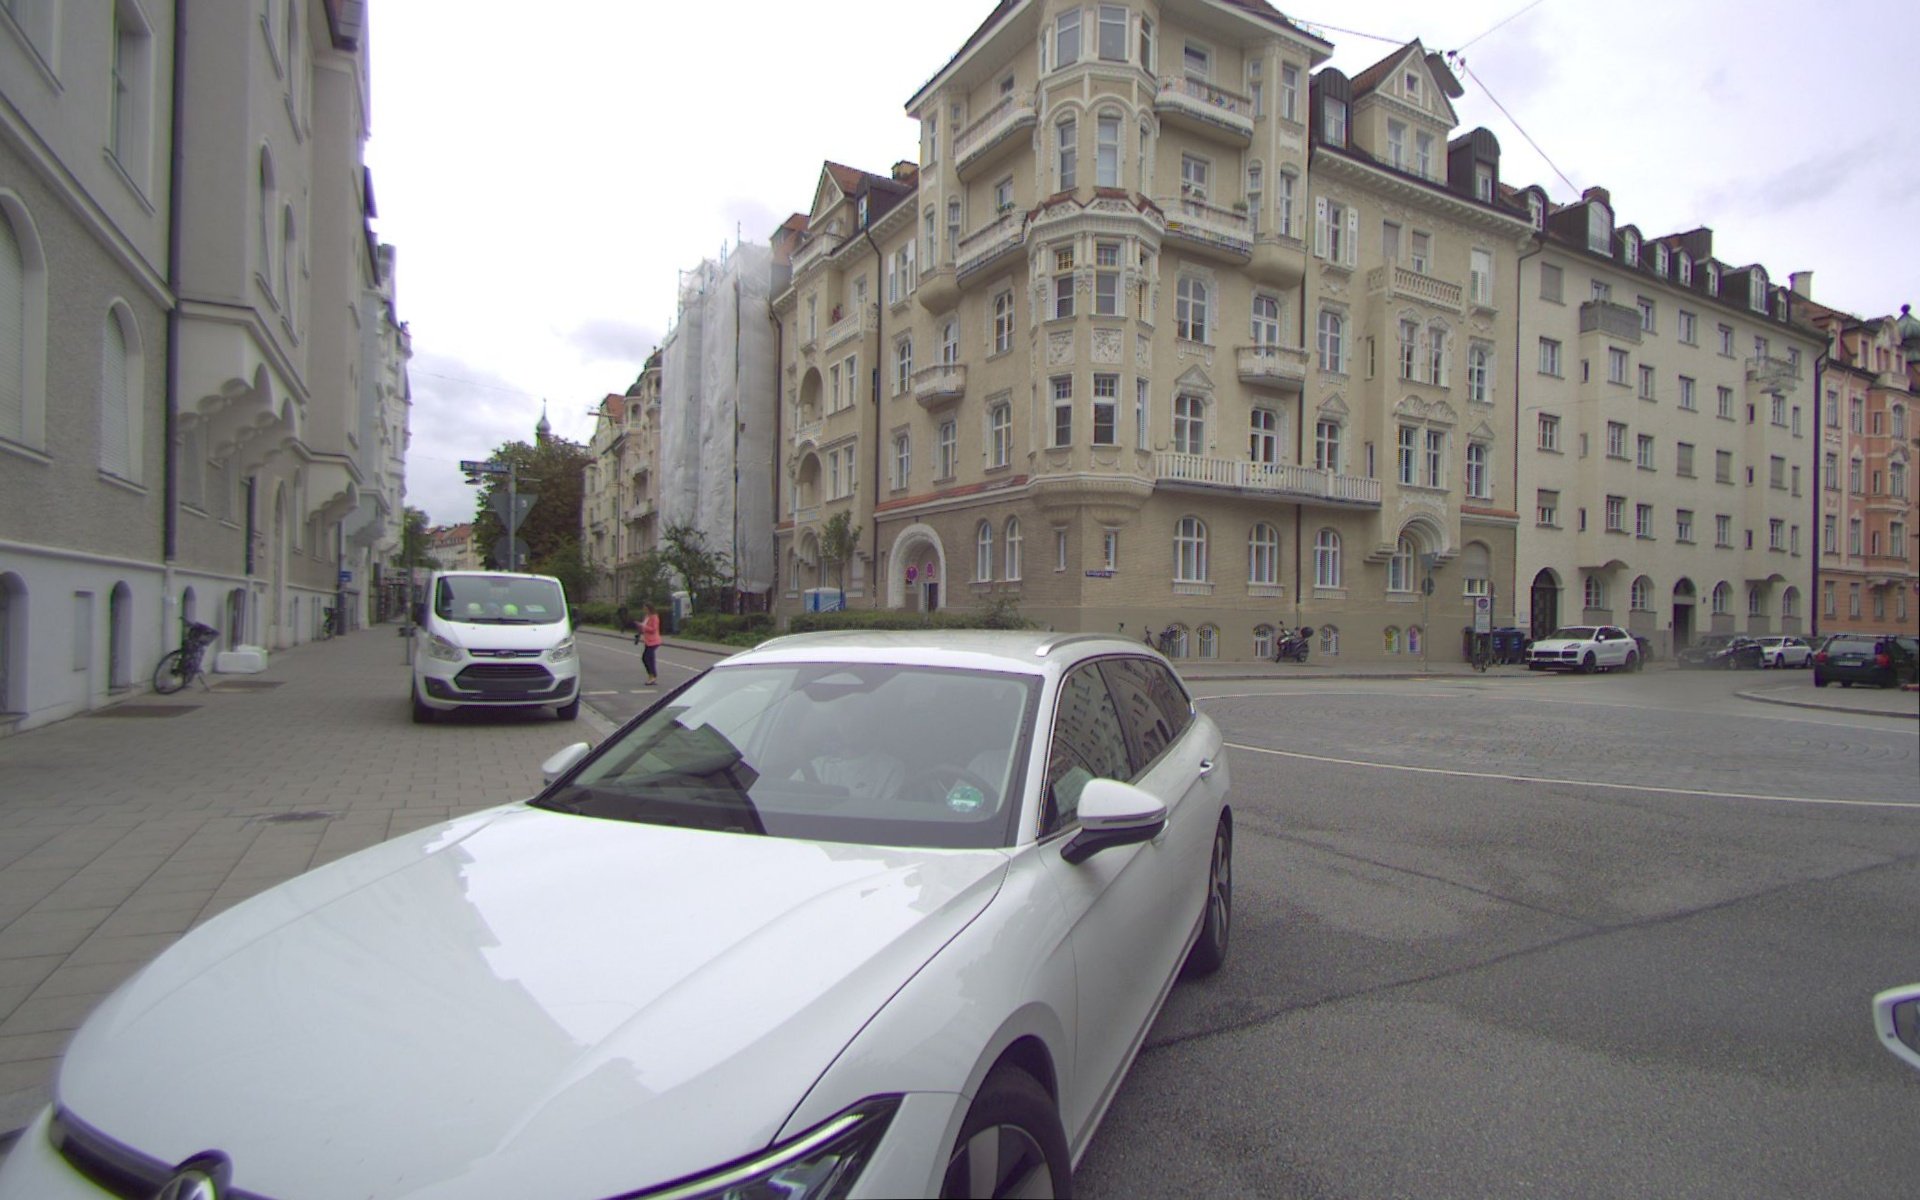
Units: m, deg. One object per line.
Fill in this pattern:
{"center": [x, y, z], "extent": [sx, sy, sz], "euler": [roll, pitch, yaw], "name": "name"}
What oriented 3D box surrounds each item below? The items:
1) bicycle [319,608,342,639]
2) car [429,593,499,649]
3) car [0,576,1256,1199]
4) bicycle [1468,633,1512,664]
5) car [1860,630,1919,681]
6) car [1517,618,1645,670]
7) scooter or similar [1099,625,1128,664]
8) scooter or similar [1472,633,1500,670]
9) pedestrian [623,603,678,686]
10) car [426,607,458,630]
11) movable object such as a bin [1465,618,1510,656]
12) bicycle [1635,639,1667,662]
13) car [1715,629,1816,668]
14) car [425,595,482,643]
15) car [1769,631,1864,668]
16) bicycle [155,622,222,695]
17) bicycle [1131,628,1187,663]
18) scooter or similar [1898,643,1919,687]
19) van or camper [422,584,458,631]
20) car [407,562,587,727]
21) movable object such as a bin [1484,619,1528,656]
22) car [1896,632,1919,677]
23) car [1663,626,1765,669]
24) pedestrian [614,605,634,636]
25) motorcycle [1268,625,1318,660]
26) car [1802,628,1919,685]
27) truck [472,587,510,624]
{"center": [-22.081, 0.802, 35.244], "extent": [0.485, 1.063, 1.818], "euler": [1, -1, -27], "name": "bicycle"}
{"center": [-19.895, 0.843, 40.163], "extent": [2.100, 2.119, 4.782], "euler": [2, -1, -31], "name": "car"}
{"center": [-0.160, 0.753, 3.597], "extent": [1.854, 1.468, 4.890], "euler": [1, -1, 22], "name": "car"}
{"center": [19.282, 1.758, 36.540], "extent": [1.810, 1.063, 0.560], "euler": [1, -1, -32], "name": "bicycle"}
{"center": [30.322, 1.735, 31.869], "extent": [4.193, 1.525, 1.781], "euler": [2, -2, -36], "name": "car"}
{"center": [22.274, 1.565, 35.996], "extent": [4.786, 1.723, 1.965], "euler": [2, 0, -31], "name": "car"}
{"center": [4.623, 1.339, 30.229], "extent": [0.459, 1.130, 1.214], "euler": [1, 0, 27], "name": "scooter or similar"}
{"center": [17.645, 1.716, 33.717], "extent": [0.458, 1.209, 1.216], "euler": [1, 0, 9], "name": "scooter or similar"}
{"center": [-6.350, 0.902, 20.580], "extent": [0.848, 1.658, 0.725], "euler": [2, -1, -39], "name": "pedestrian"}
{"center": [-31.751, 1.132, 61.559], "extent": [1.676, 1.364, 3.514], "euler": [1, -1, -28], "name": "car"}
{"center": [20.769, 1.464, 39.542], "extent": [1.159, 1.444, 1.086], "euler": [1, -1, -29], "name": "movable object such as a bin"}
{"center": [32.459, 2.363, 47.191], "extent": [1.810, 1.063, 0.560], "euler": [1, -1, -32], "name": "bicycle"}
{"center": [35.286, 2.113, 43.986], "extent": [4.355, 1.602, 1.967], "euler": [1, 0, -29], "name": "car"}
{"center": [-22.937, 0.848, 45.413], "extent": [2.099, 2.020, 4.786], "euler": [1, -1, -29], "name": "car"}
{"center": [39.695, 2.276, 46.560], "extent": [4.354, 1.602, 1.967], "euler": [1, 0, -29], "name": "car"}
{"center": [-12.060, 0.882, 15.741], "extent": [0.485, 1.063, 1.818], "euler": [1, -1, -27], "name": "bicycle"}
{"center": [6.241, 1.421, 31.479], "extent": [1.810, 1.063, 0.560], "euler": [1, -1, -32], "name": "bicycle"}
{"center": [24.729, 1.663, 25.715], "extent": [0.985, 1.103, 0.389], "euler": [1, 0, 33], "name": "scooter or similar"}
{"center": [-34.745, 0.485, 67.243], "extent": [1.974, 2.952, 6.394], "euler": [2, -1, -26], "name": "van or camper"}
{"center": [-6.676, 0.546, 14.166], "extent": [1.902, 1.905, 4.873], "euler": [1, -1, -29], "name": "car"}
{"center": [21.803, 1.485, 40.116], "extent": [1.159, 1.444, 1.086], "euler": [1, -1, -29], "name": "movable object such as a bin"}
{"center": [33.968, 1.875, 34.592], "extent": [4.075, 1.525, 1.781], "euler": [2, -2, -36], "name": "car"}
{"center": [31.166, 1.944, 41.470], "extent": [4.664, 1.637, 1.963], "euler": [2, 0, -34], "name": "car"}
{"center": [-19.356, 1.196, 57.846], "extent": [0.866, 1.749, 1.043], "euler": [1, -1, -30], "name": "pedestrian"}
{"center": [11.393, 1.448, 34.389], "extent": [1.810, 1.192, 0.595], "euler": [1, -1, -32], "name": "motorcycle"}
{"center": [26.062, 1.581, 28.869], "extent": [4.379, 1.525, 1.807], "euler": [2, -2, -36], "name": "car"}
{"center": [-49.316, 0.638, 105.467], "extent": [3.151, 3.671, 8.669], "euler": [1, -1, -28], "name": "truck"}
